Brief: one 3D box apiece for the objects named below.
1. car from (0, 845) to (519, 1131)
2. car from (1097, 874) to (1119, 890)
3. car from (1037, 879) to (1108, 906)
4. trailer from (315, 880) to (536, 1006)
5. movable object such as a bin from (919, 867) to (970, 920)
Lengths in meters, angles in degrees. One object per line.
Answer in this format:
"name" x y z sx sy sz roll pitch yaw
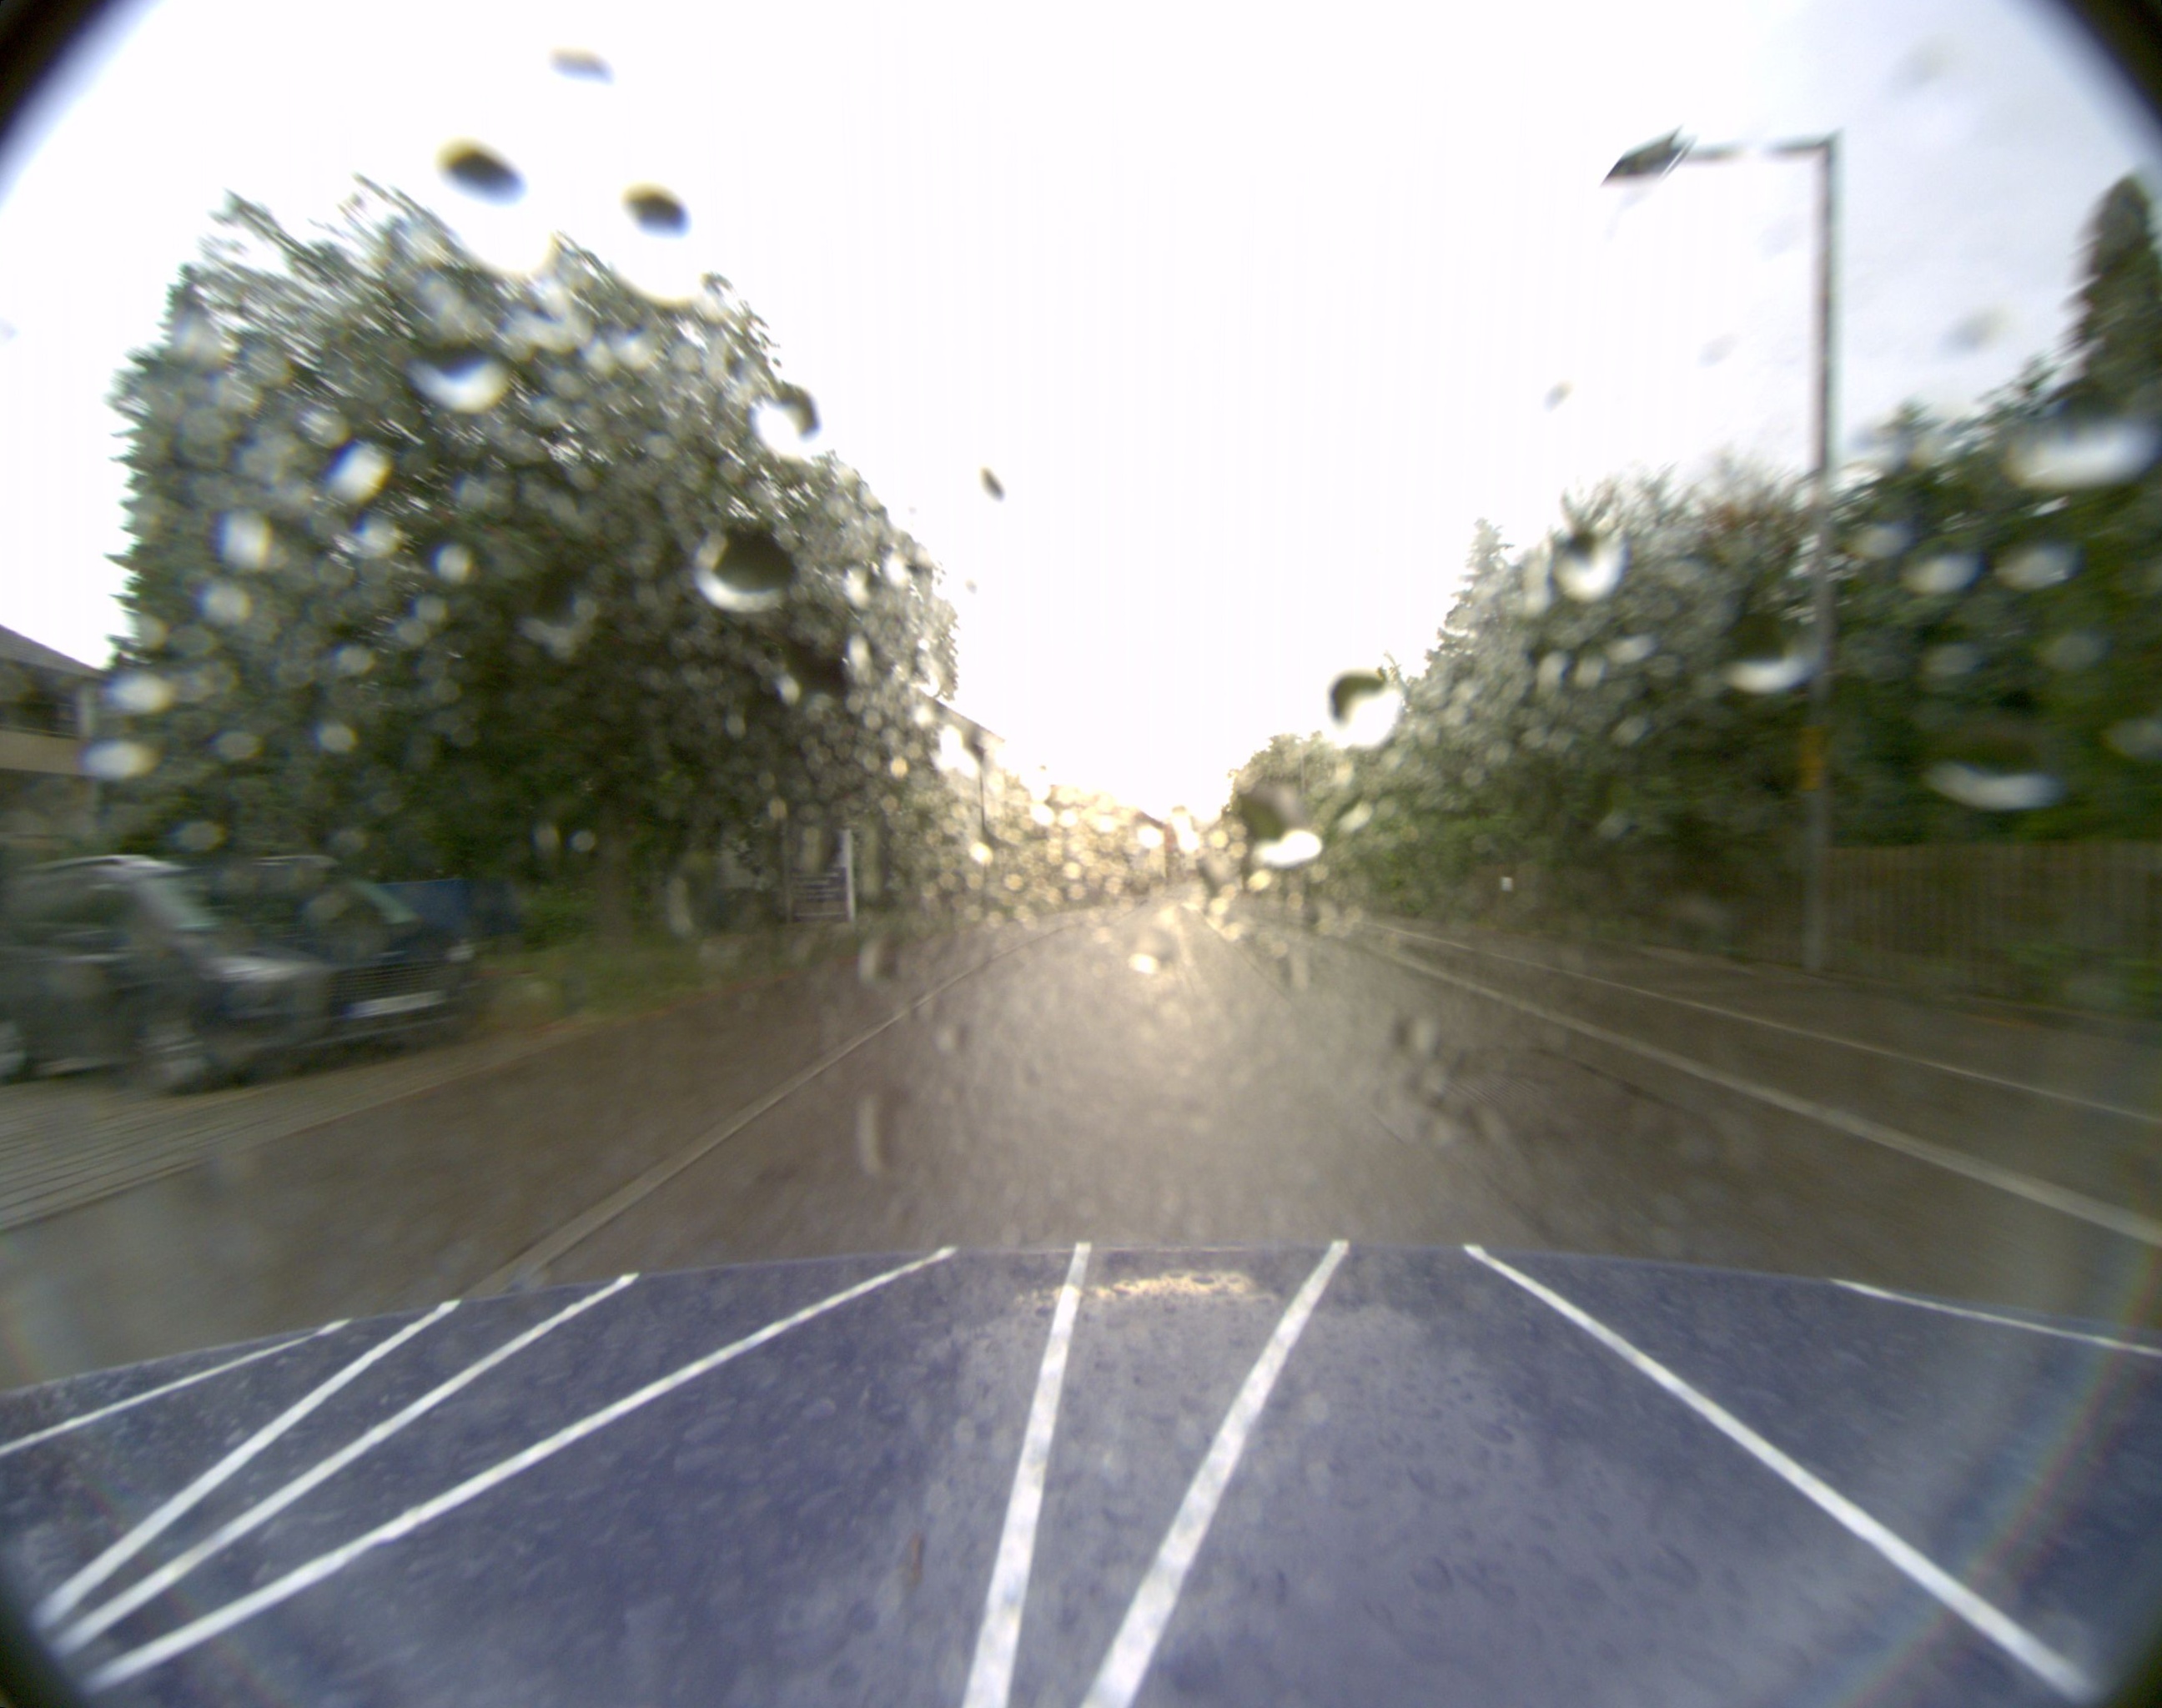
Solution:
"car" -6.987 0.953 6.098 4.337 1.706 1.731 -4 0 19
"car" 3.075 3.224 87.252 1.724 1.554 3.790 1 2 -9
"car" -0.528 2.502 49.821 4.536 1.650 1.857 -1 -2 2
"trailer" -11.191 1.416 13.280 1.766 1.811 3.278 -3 -1 -19
"movable object such as a bin" -4.025 1.146 22.407 1.246 1.488 0.981 0 -2 -26
